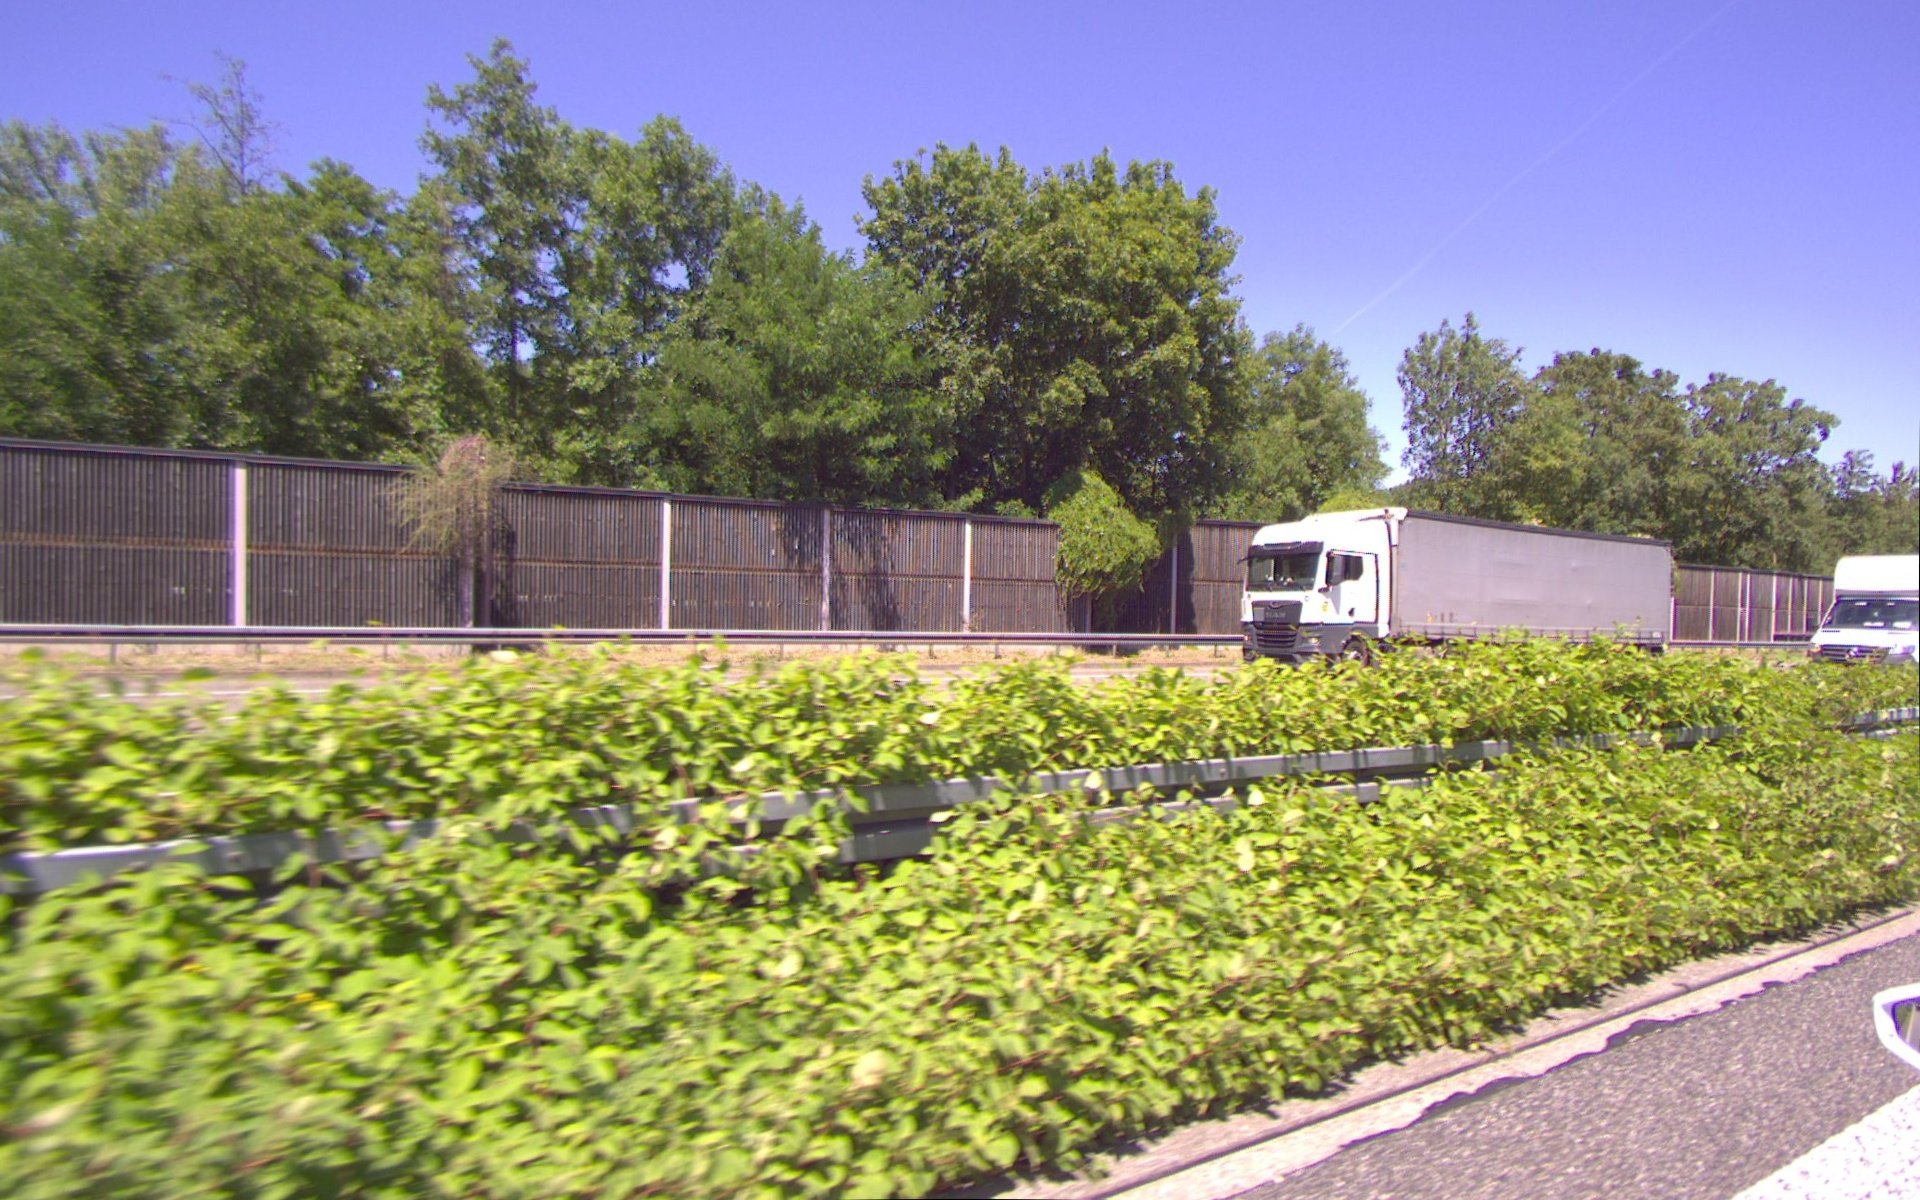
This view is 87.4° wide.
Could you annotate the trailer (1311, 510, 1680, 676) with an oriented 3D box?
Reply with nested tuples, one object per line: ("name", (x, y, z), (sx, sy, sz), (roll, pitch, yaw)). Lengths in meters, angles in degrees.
("trailer", (15.760, -0.026, 28.756), (13.604, 3.962, 2.715), (1, 0, -31))

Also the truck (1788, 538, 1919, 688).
("truck", (23.218, 0.361, 24.341), (8.436, 3.156, 2.182), (1, 0, -31))

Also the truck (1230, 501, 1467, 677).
("truck", (9.720, -0.197, 25.047), (5.510, 3.947, 2.672), (1, 0, -31))
